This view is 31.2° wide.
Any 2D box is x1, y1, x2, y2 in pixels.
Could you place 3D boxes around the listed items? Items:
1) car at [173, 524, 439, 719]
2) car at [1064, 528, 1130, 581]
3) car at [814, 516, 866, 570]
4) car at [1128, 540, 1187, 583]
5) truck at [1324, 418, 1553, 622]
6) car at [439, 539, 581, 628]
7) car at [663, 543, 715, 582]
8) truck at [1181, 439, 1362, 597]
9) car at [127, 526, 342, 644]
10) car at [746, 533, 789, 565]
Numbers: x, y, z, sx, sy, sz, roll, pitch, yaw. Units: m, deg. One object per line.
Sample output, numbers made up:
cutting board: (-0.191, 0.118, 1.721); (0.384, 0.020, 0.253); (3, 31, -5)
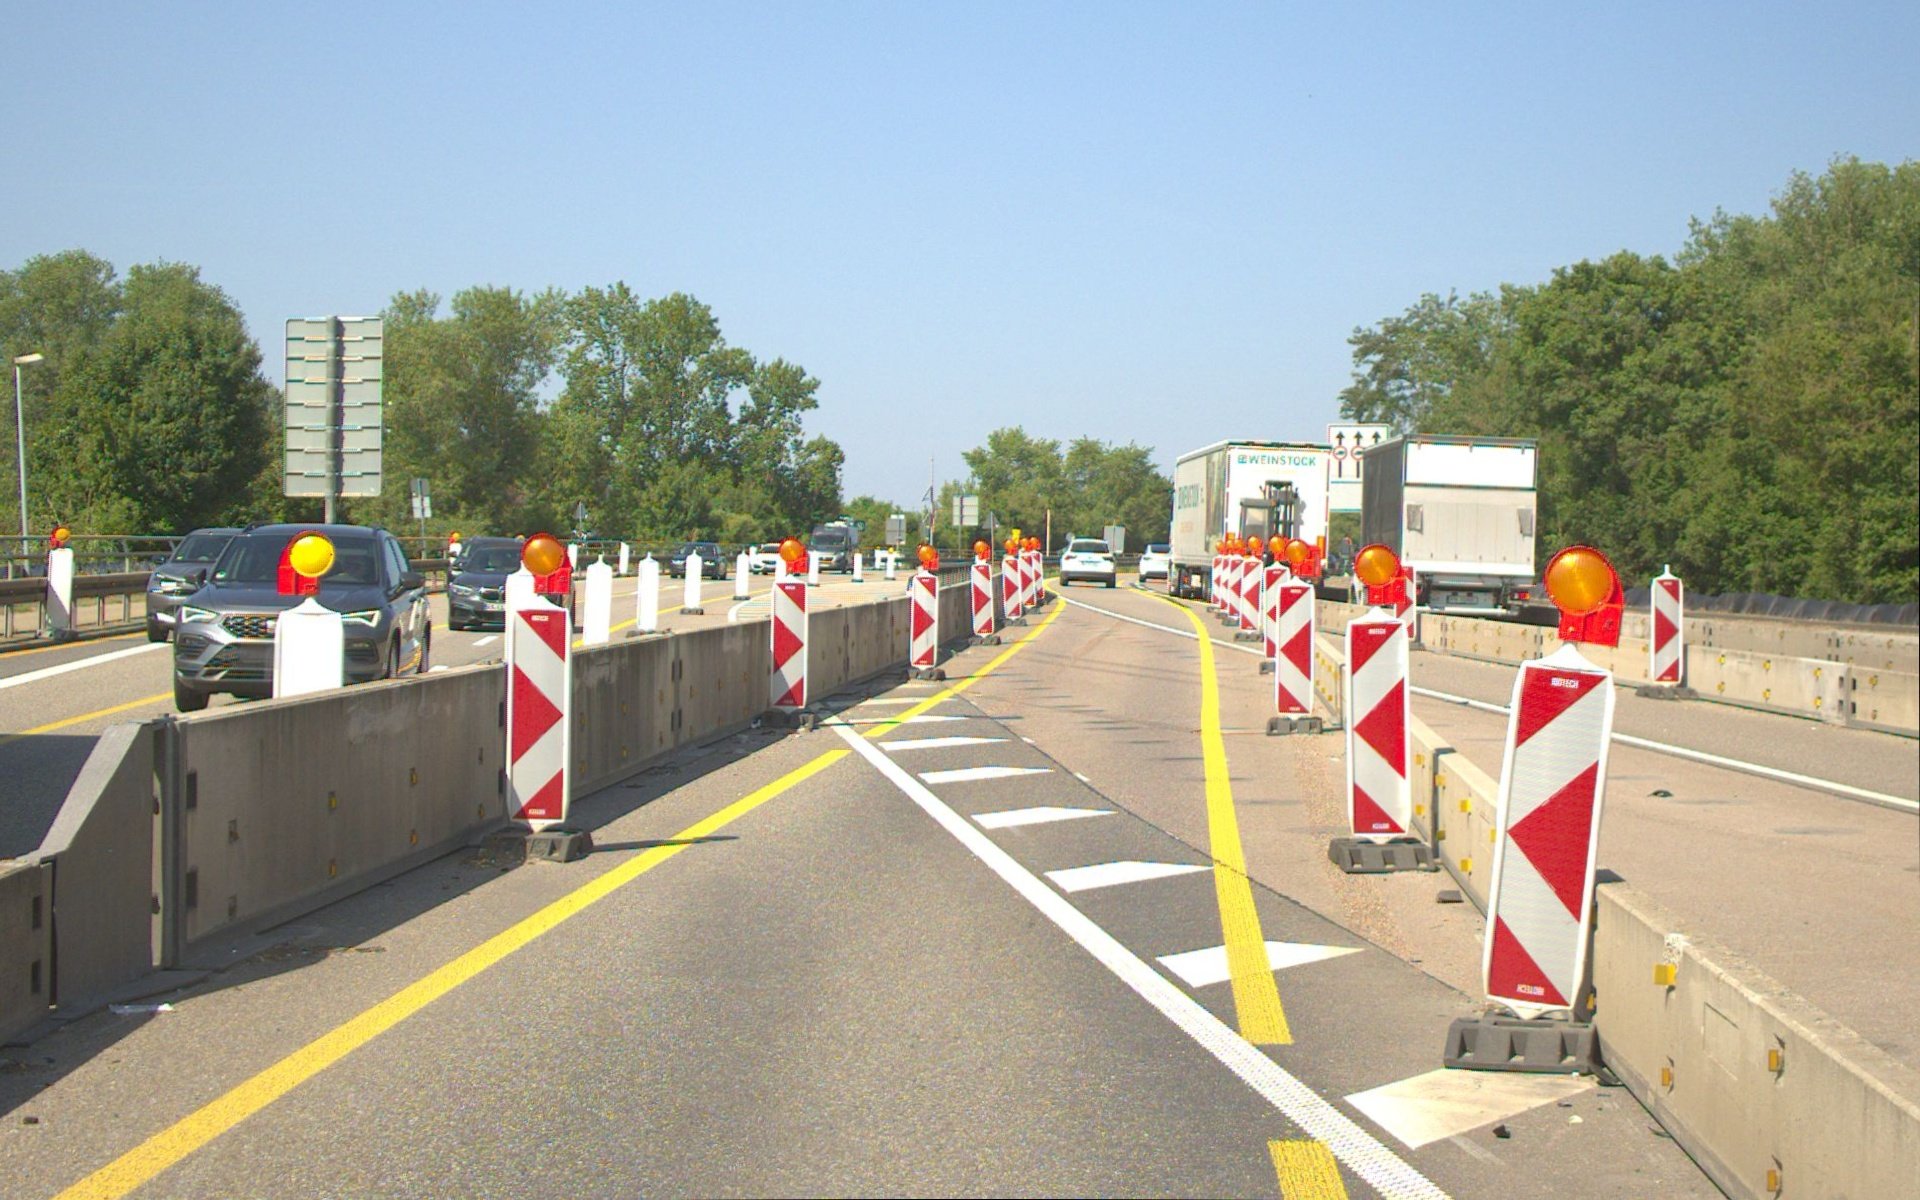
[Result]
car: (-5.579, 0.139, 29.718); (1.790, 1.563, 3.873); (0, 1, -4)
car: (4.599, -1.548, 115.948); (1.816, 1.770, 4.001); (0, 1, -4)
car: (-6.125, -2.902, 175.833); (2.146, 2.651, 5.546); (1, 1, 3)
car: (8.226, -1.614, 143.442); (1.993, 1.770, 4.001); (0, 1, -4)
truck: (8.461, -1.432, 61.629); (2.634, 3.416, 7.234); (0, 1, -4)
car: (-7.228, -0.294, 55.561); (1.689, 1.371, 4.273); (1, 1, 0)
car: (-10.414, -1.463, 132.517); (1.737, 1.471, 4.646); (0, 1, -1)
truck: (7.676, -2.022, 85.694); (3.388, 3.761, 7.234); (0, 1, -4)
car: (-9.735, -0.234, 46.478); (1.932, 1.503, 4.469); (1, 1, 0)
car: (-8.814, -2.337, 157.793); (1.719, 1.392, 4.520); (2, 1, 0)
